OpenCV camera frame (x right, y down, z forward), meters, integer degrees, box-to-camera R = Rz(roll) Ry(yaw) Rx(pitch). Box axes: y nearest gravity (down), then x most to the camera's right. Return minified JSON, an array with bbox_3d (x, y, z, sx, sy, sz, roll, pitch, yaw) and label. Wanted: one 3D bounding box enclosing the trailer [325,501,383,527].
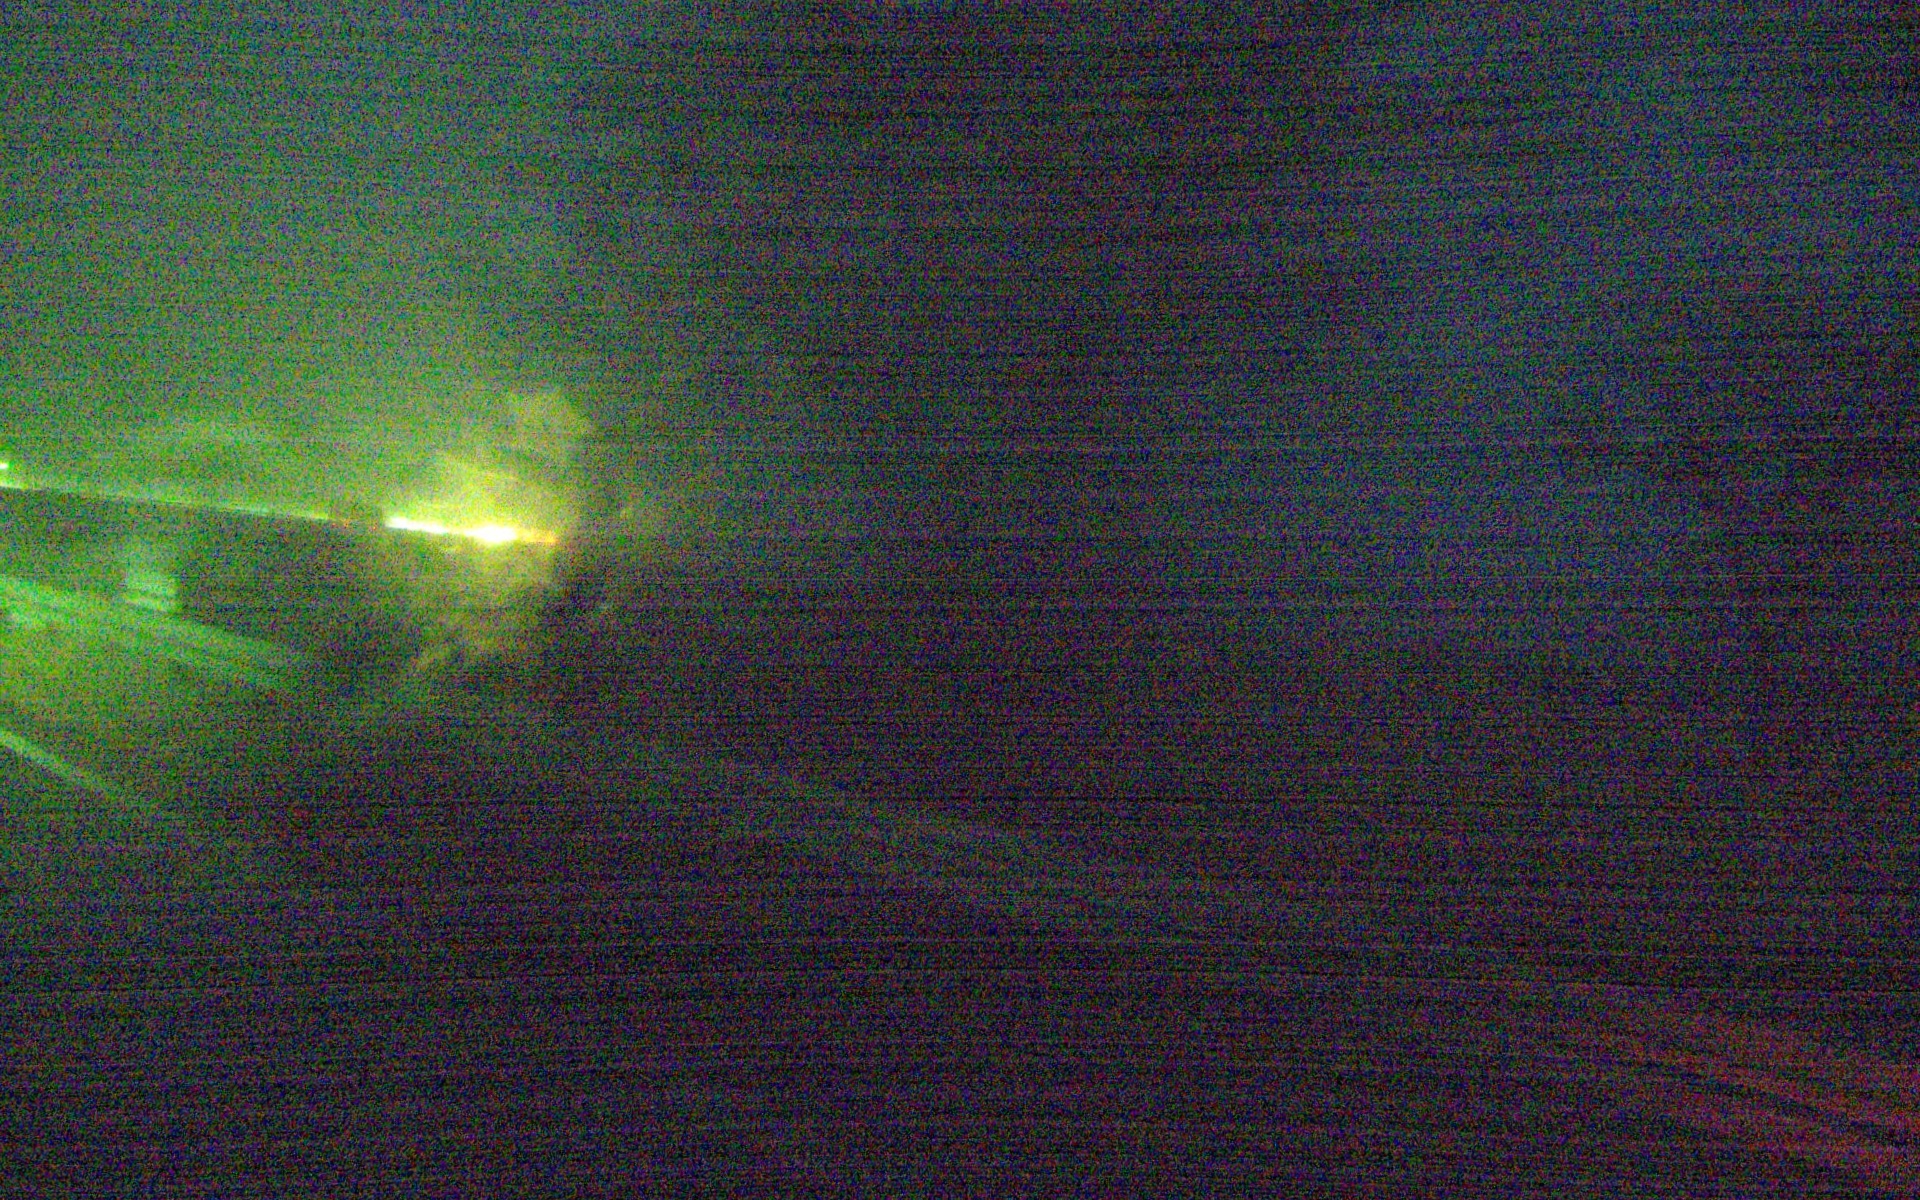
[{"bbox_3d":[-89.067,-12.597,148.255,2.652,2.733,12.828,8,0,-10],"label":"trailer"}]
